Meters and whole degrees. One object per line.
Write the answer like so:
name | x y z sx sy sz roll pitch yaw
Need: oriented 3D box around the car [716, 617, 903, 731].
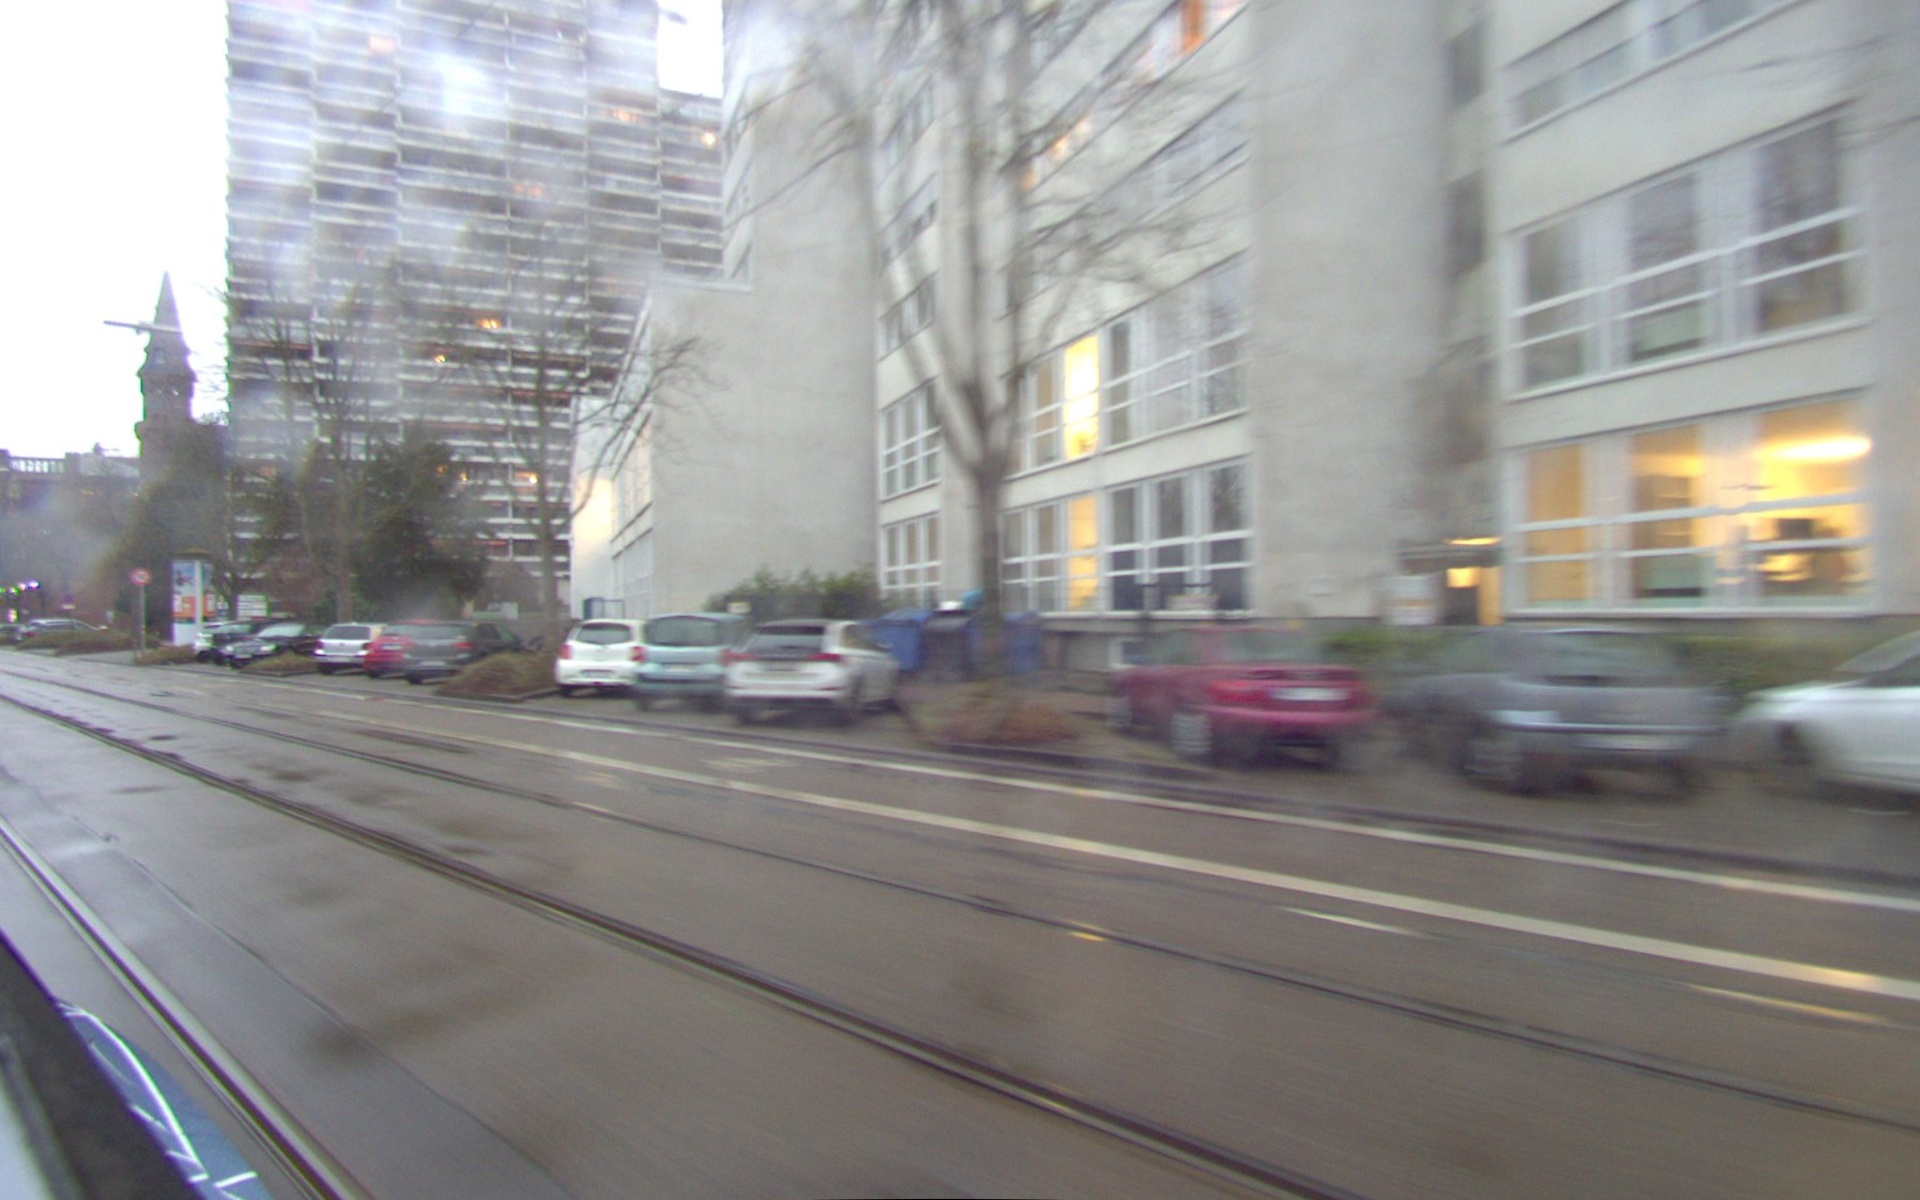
car | -2.062 1.005 15.033 1.716 1.455 3.990 0 -2 8

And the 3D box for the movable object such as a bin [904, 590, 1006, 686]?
movable object such as a bin | -0.100 0.788 20.830 1.393 1.874 1.553 -4 -3 42

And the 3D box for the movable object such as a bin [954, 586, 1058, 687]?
movable object such as a bin | 0.913 0.722 19.899 1.317 1.874 1.553 -4 -3 42

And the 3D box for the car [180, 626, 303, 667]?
car | -26.639 1.702 37.708 1.829 1.410 4.001 -1 -2 -1

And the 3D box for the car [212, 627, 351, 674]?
car | -21.636 1.574 32.476 1.829 1.389 4.001 -1 -2 -1

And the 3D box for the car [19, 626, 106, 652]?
car | -54.910 2.376 61.970 3.940 1.497 1.673 1 -3 -43

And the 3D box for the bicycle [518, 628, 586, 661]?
bicycle | -14.334 1.557 35.599 2.167 1.129 0.644 0 -2 -27

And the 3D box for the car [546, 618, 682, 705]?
car | -6.851 1.182 20.424 1.668 1.563 3.880 -1 -2 -4

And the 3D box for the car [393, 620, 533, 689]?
car | -11.861 1.277 24.417 1.671 1.504 3.856 -1 -2 -3

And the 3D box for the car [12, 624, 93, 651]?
car | -59.774 2.470 66.682 3.940 1.652 2.002 1 -3 -43

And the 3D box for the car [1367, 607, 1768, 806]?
car | 5.376 0.856 9.656 1.715 1.474 3.992 0 -2 6

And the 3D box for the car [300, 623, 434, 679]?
car | -16.743 1.423 28.788 1.765 1.457 4.004 -1 -2 -5

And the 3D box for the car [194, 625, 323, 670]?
car | -24.368 1.623 35.341 1.829 1.474 4.001 -1 -2 -1

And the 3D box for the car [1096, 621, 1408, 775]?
car | 2.919 0.943 11.241 1.722 1.362 4.354 0 -2 -7

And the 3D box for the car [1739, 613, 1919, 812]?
car | 7.826 0.788 6.947 1.710 1.434 3.856 -1 -2 -5

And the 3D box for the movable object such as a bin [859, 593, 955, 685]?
movable object such as a bin | -1.144 0.834 21.759 1.317 1.874 1.553 -4 -3 42

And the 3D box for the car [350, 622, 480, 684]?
car | -14.471 1.381 27.077 1.705 1.504 3.452 -1 -2 -1

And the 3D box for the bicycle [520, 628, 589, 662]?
bicycle | -13.935 1.530 34.786 2.167 1.129 0.644 0 -2 -27

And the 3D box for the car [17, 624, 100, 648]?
car | -57.644 2.296 64.760 3.940 1.497 1.673 1 -3 -43

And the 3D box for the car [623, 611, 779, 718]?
car | -4.253 1.028 17.223 1.712 1.575 4.001 -1 -2 -1
